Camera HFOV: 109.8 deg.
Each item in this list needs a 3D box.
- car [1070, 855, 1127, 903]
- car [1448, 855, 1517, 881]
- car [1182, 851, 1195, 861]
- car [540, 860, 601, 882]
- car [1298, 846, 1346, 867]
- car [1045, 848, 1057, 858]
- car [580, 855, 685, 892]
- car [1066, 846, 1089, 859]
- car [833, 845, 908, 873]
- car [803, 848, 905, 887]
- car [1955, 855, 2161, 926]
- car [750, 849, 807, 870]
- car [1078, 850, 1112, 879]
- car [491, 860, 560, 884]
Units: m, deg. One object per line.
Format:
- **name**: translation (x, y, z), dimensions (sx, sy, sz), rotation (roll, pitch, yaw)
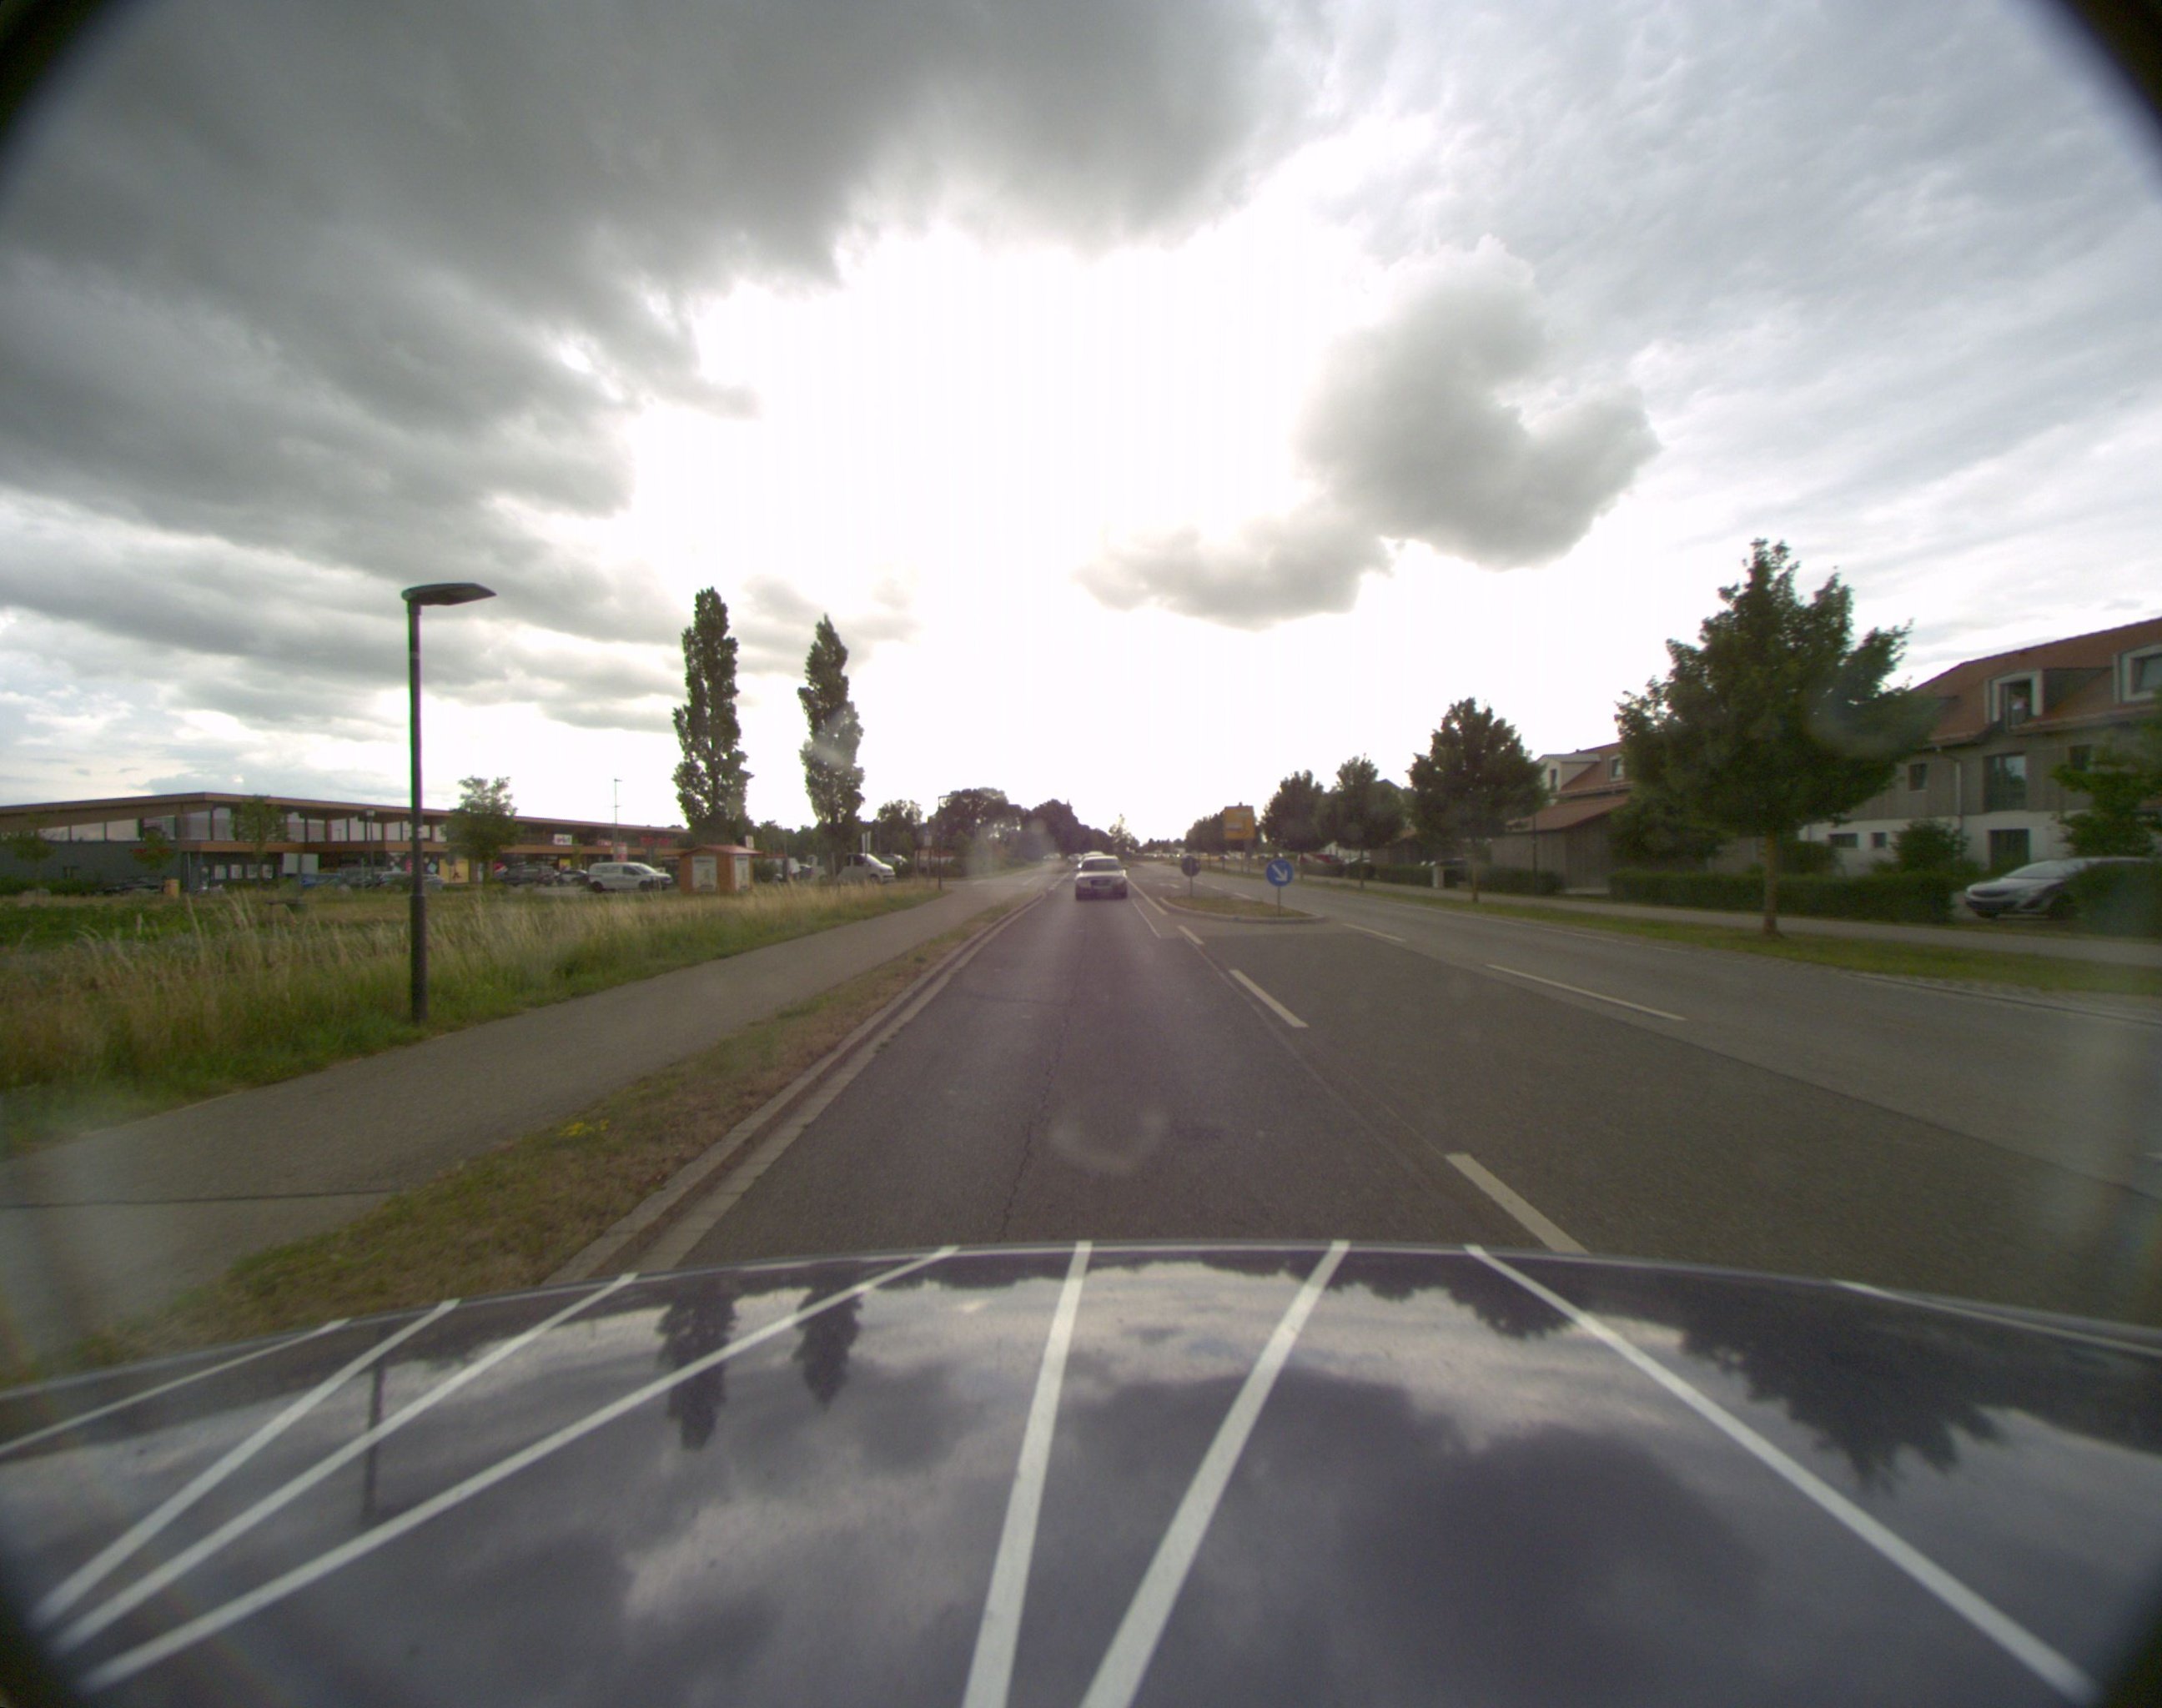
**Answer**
- **car**: translation (0.676, 0.803, 26.958), dimensions (1.763, 1.410, 4.520), rotation (-3, 1, 3)
- **car**: translation (25.124, 0.879, 47.562), dimensions (3.592, 1.431, 1.301), rotation (-3, 1, 1)
- **car**: translation (21.257, 0.352, 150.120), dimensions (1.998, 1.772, 3.999), rotation (-3, 1, 0)
- **car**: translation (-53.202, 1.740, 79.280), dimensions (4.857, 2.002, 1.998), rotation (-3, 1, -7)
- **car**: translation (25.589, 0.242, 80.775), dimensions (4.568, 2.002, 2.000), rotation (-3, 1, 6)
- **car**: translation (-5.870, -0.248, 149.761), dimensions (1.998, 2.002, 4.000), rotation (-1, 0, 1)
- **car**: translation (-27.756, 1.201, 47.110), dimensions (5.312, 2.002, 2.000), rotation (-3, 1, 5)
- **car**: translation (-0.580, -0.271, 129.986), dimensions (1.795, 2.002, 4.456), rotation (-4, 1, -33)
- **car**: translation (-17.046, 0.397, 61.752), dimensions (5.527, 2.002, 1.999), rotation (-3, 1, -5)
- **car**: translation (-13.727, 0.797, 46.274), dimensions (5.313, 2.002, 2.562), rotation (-3, 1, 2)
- **car**: translation (23.259, 0.826, 17.981), dimensions (3.592, 1.431, 1.301), rotation (-3, 1, 1)
- **car**: translation (-34.169, 0.612, 85.992), dimensions (5.527, 2.002, 1.999), rotation (-3, 1, -5)
- **car**: translation (0.812, 0.585, 44.355), dimensions (1.763, 1.495, 4.690), rotation (-3, 1, 1)
- **car**: translation (-52.861, 1.691, 72.382), dimensions (4.857, 2.002, 1.998), rotation (-3, 1, -7)
